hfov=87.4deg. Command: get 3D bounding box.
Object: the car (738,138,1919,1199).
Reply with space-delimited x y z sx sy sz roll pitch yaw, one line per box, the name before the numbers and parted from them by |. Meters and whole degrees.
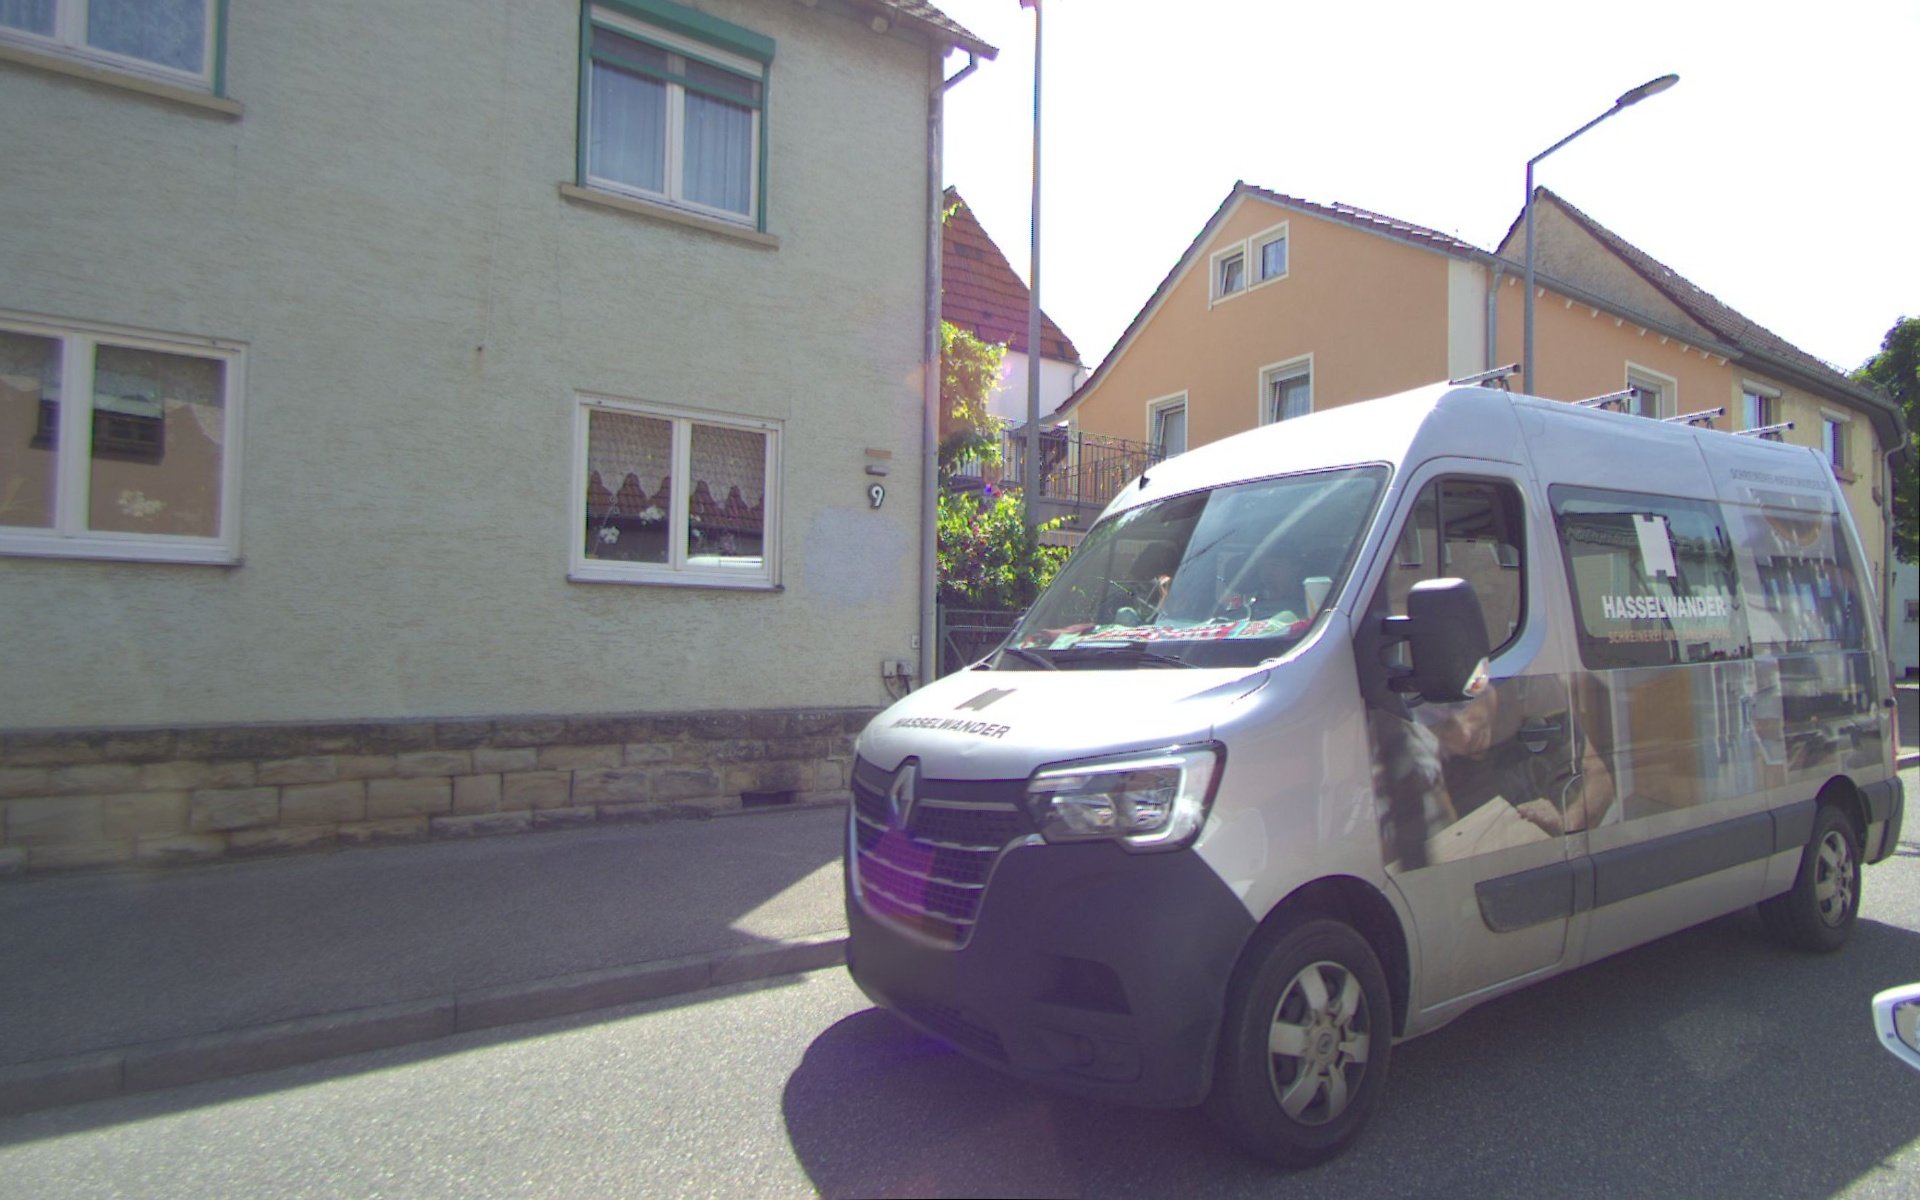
car | 2.093 0.337 4.655 5.761 2.596 2.104 1 -2 -31
